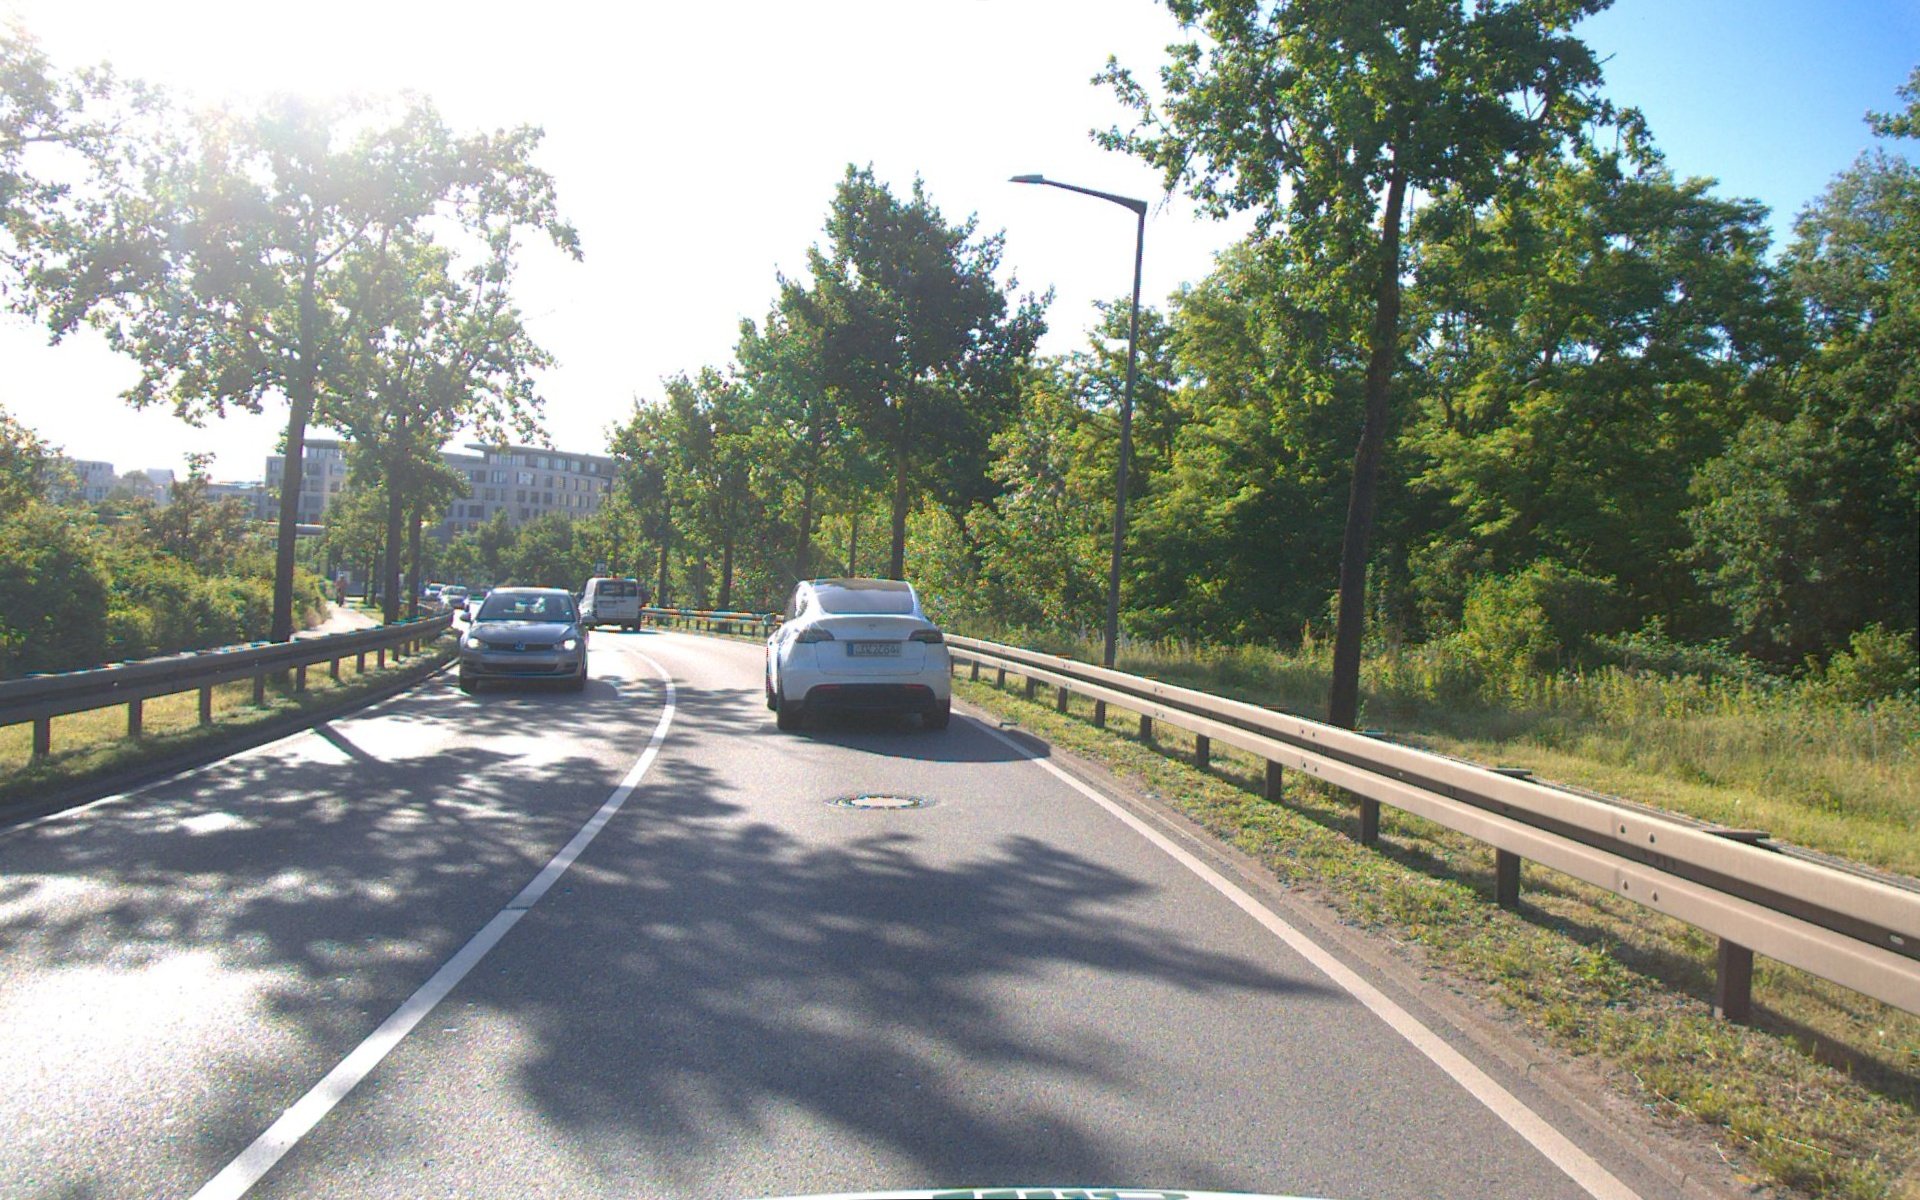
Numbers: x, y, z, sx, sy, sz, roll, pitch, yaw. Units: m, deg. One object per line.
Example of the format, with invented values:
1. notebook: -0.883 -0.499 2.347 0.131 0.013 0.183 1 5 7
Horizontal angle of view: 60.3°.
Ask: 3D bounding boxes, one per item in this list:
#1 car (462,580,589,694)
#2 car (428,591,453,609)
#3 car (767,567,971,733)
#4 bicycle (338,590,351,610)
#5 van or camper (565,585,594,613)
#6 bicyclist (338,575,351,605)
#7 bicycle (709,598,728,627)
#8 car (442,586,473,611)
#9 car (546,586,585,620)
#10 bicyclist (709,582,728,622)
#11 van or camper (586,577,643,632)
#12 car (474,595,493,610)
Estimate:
1. car: -6.483 0.516 24.945 1.666 1.545 3.968 2 0 -13
2. car: -45.570 -0.040 145.132 1.823 1.518 4.688 2 0 -20
3. car: -1.179 0.518 19.177 1.879 1.669 4.400 2 0 -9
4. bicycle: -34.901 -0.014 93.718 0.651 1.114 2.095 2 0 -21
5. van or camper: -28.745 -0.082 125.081 1.793 1.821 4.535 4 1 -10
6. bicyclist: -34.984 -0.560 93.955 0.642 1.652 0.869 2 0 -21
7. bicycle: -9.990 0.526 68.377 0.687 1.093 1.918 2 -2 -6
8. car: -32.590 -0.097 107.209 1.781 1.581 4.119 2 0 -18
9. car: -18.423 0.150 77.218 1.578 1.459 3.663 4 -1 -15
10. bicyclist: -9.981 0.076 68.385 0.694 1.606 1.003 2 -2 -7
11. van or camper: -12.866 0.153 61.467 1.925 1.917 4.863 2 0 -13
12. car: -47.930 0.246 166.358 1.666 1.466 4.193 2 0 -19
